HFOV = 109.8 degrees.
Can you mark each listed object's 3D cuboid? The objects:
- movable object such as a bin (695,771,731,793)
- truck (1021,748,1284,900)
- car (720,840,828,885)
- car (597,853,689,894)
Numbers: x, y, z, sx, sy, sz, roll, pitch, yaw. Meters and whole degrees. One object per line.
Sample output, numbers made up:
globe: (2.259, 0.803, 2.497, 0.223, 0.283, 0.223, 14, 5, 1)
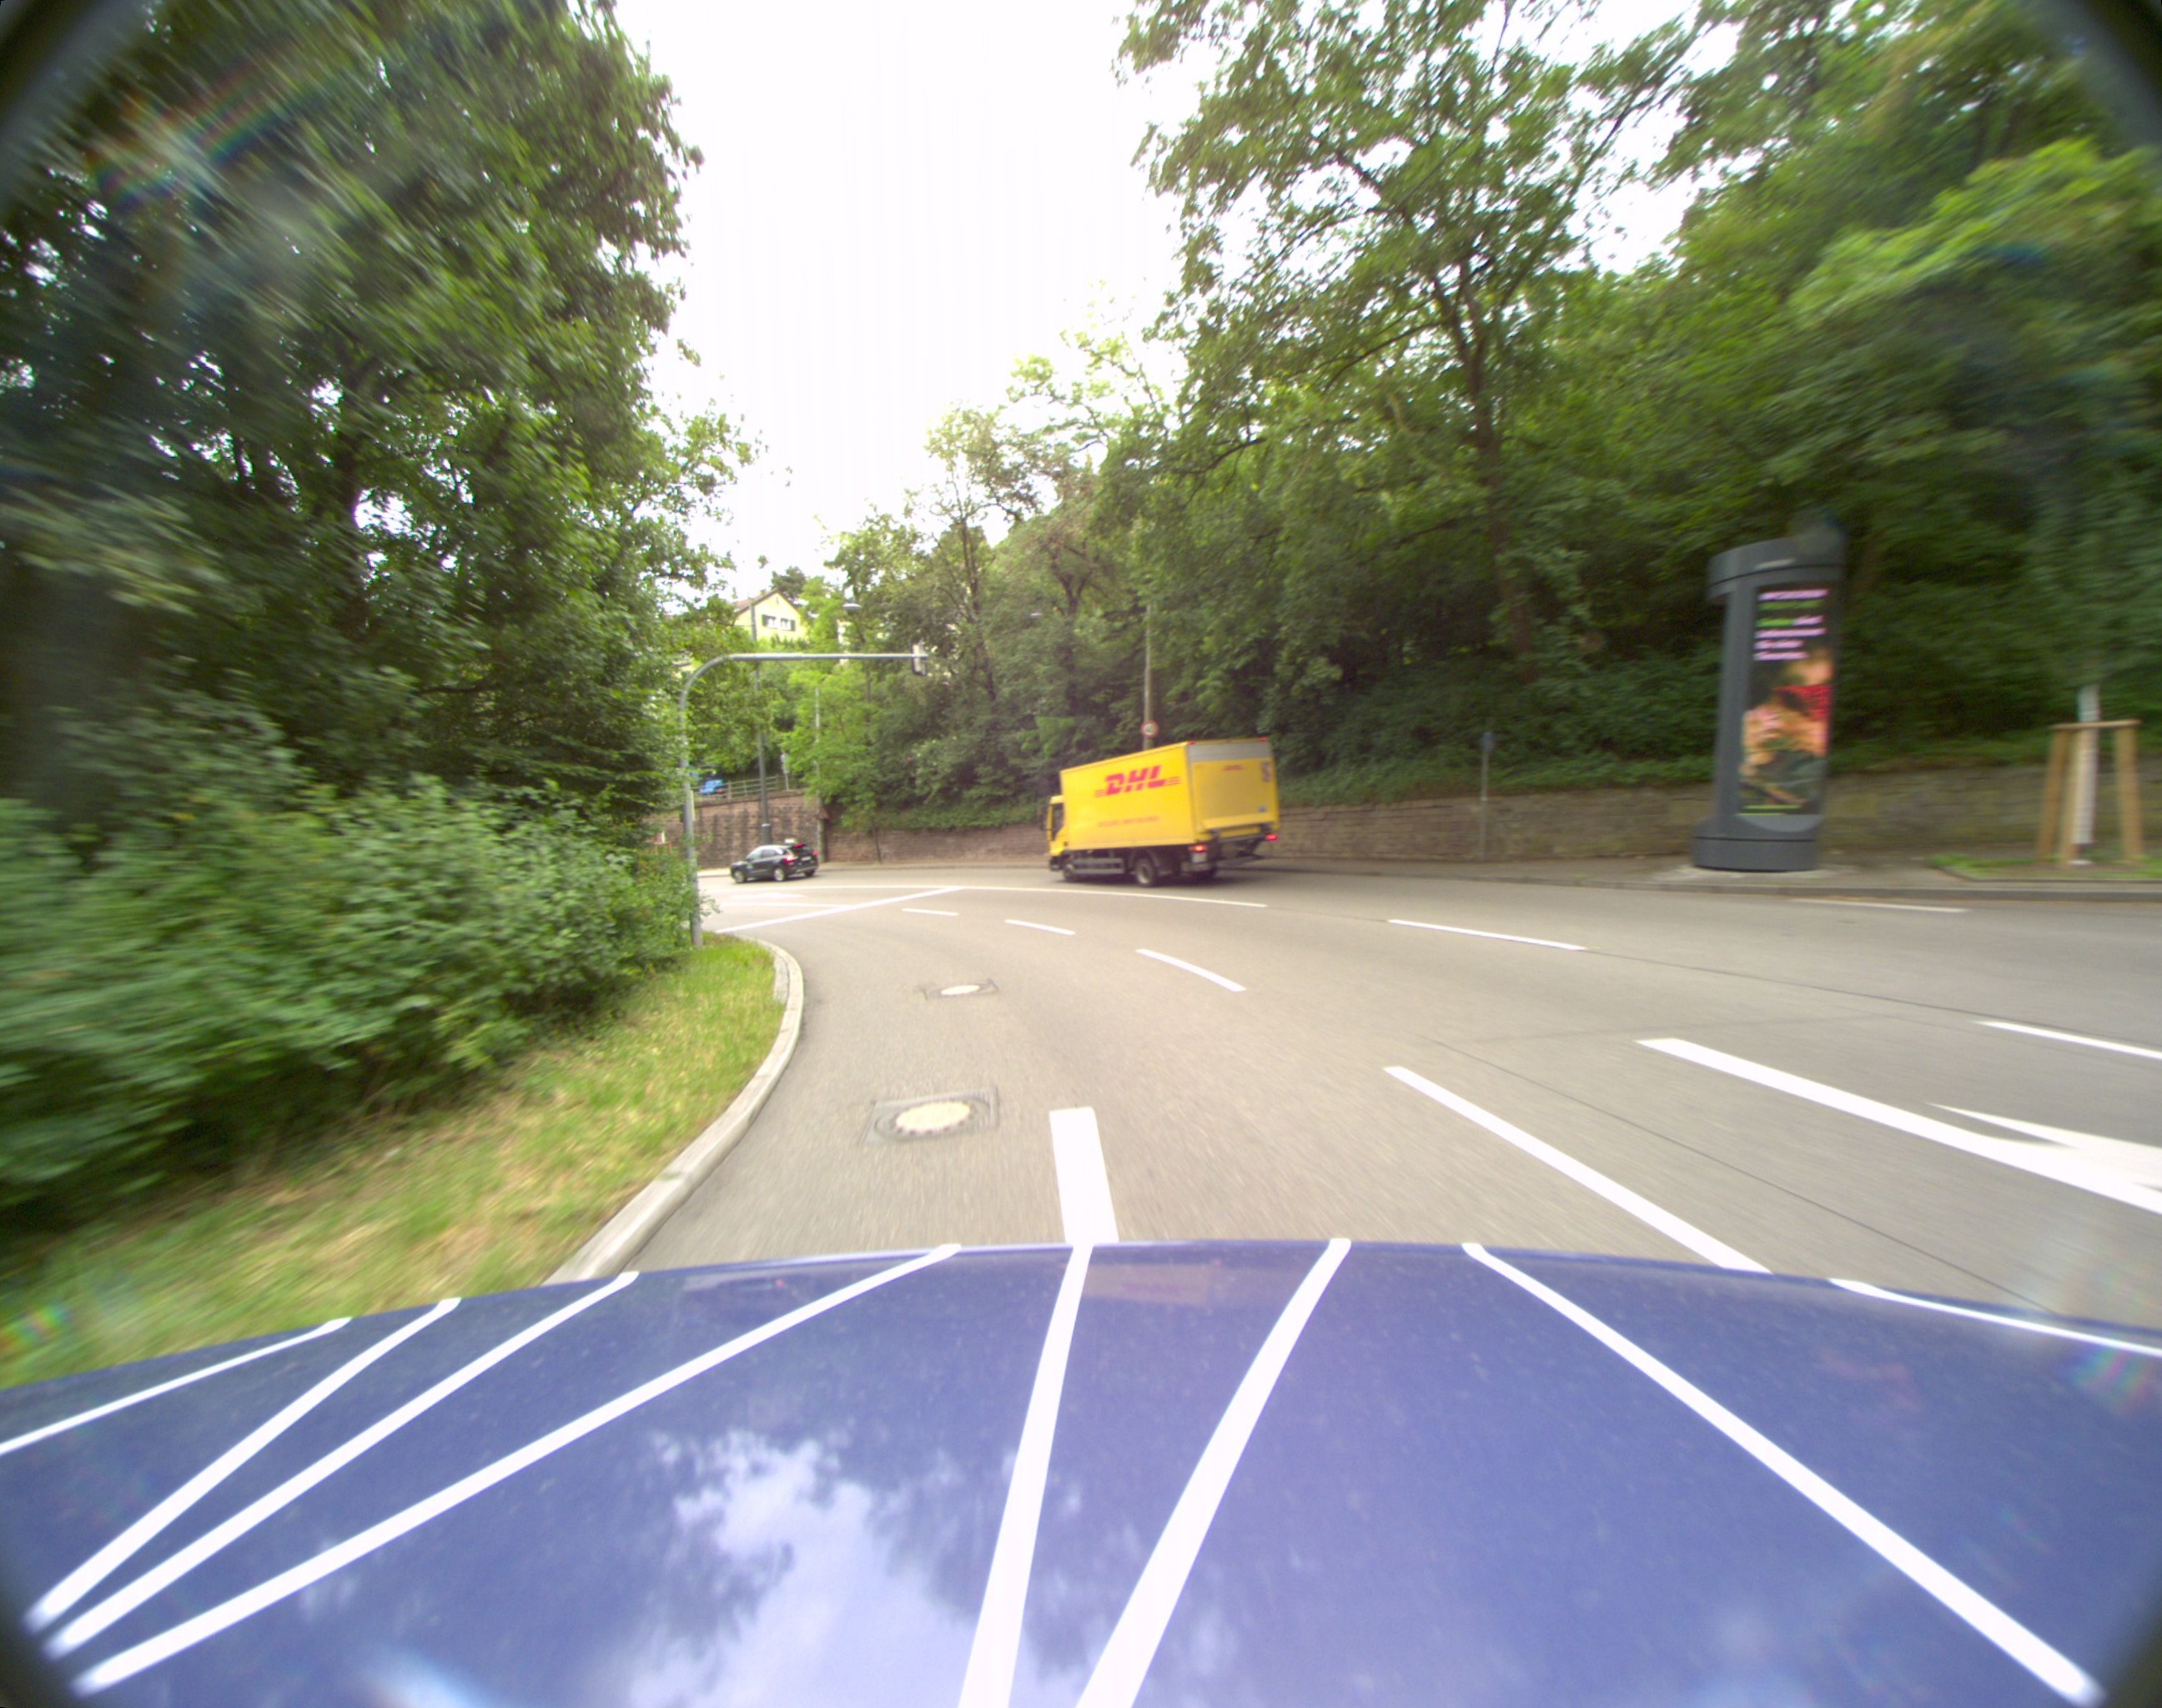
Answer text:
movable object such as a bin: (-24.912, -4.893, 51.495, 1.603, 1.349, 1.252, -5, 6, 10)
truck: (1.505, -0.713, 20.380, 2.762, 3.282, 7.563, -6, 3, -33)
car: (-14.059, 0.399, 34.795, 4.638, 1.617, 1.761, -3, 7, 27)
car: (-21.876, 0.954, 37.982, 3.655, 1.518, 1.510, -5, 7, 11)
